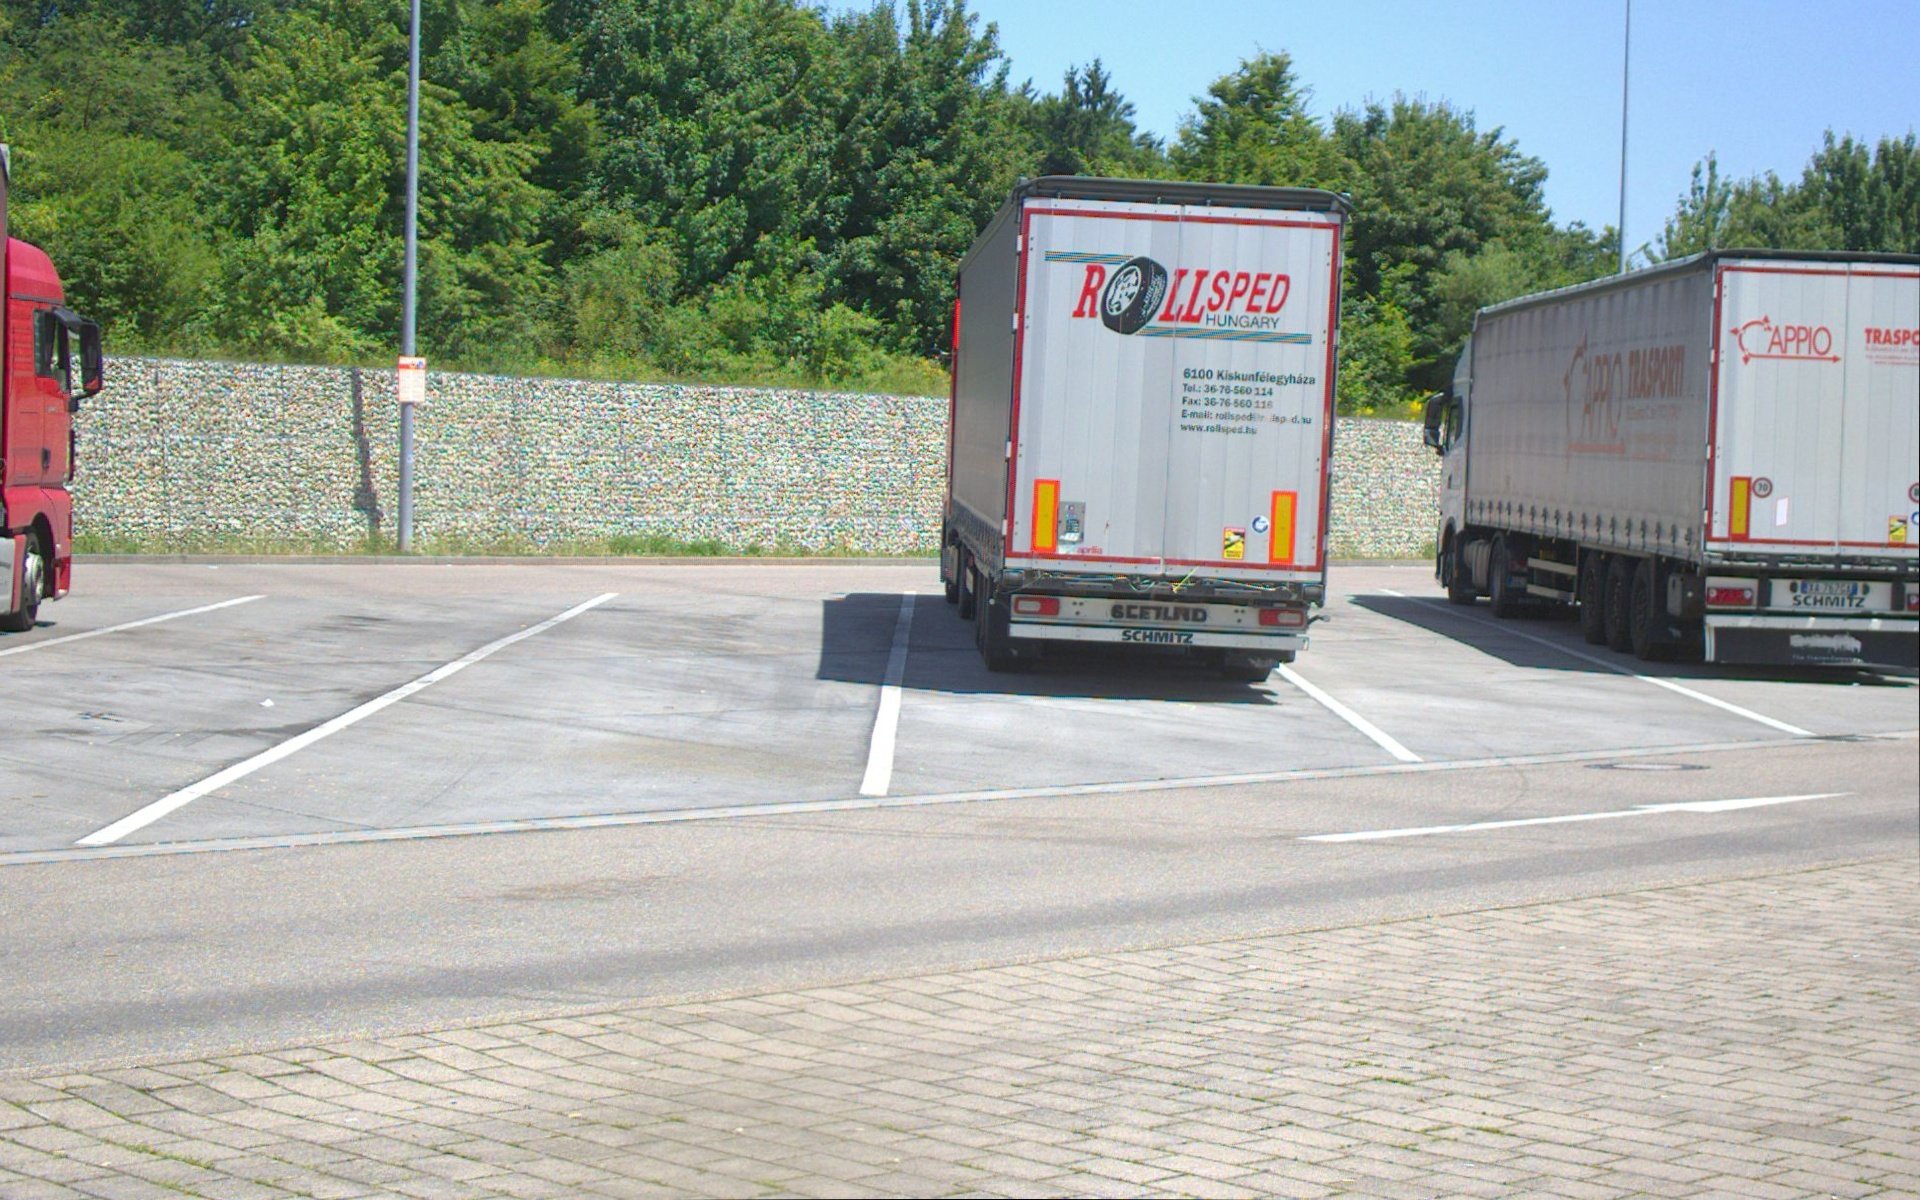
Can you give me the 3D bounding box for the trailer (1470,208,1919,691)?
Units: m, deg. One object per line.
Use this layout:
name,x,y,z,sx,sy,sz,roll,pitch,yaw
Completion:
trailer,8.117,-1.587,38.194,2.681,4.437,12.831,1,2,-1

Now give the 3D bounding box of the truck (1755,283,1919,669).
truck,11.734,-1.347,38.728,2.587,4.211,11.971,1,1,-1

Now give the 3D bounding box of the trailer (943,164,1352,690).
trailer,1.413,-1.508,32.036,2.897,4.000,11.318,1,2,-1

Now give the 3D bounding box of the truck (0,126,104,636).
truck,-9.171,-1.800,28.349,2.805,4.119,5.894,1,2,-1

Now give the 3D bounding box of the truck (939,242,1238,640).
truck,1.274,-1.697,37.652,2.871,3.967,6.030,1,2,-1

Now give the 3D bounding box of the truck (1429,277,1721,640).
truck,7.983,-1.837,45.340,2.661,4.437,5.864,1,2,-1
